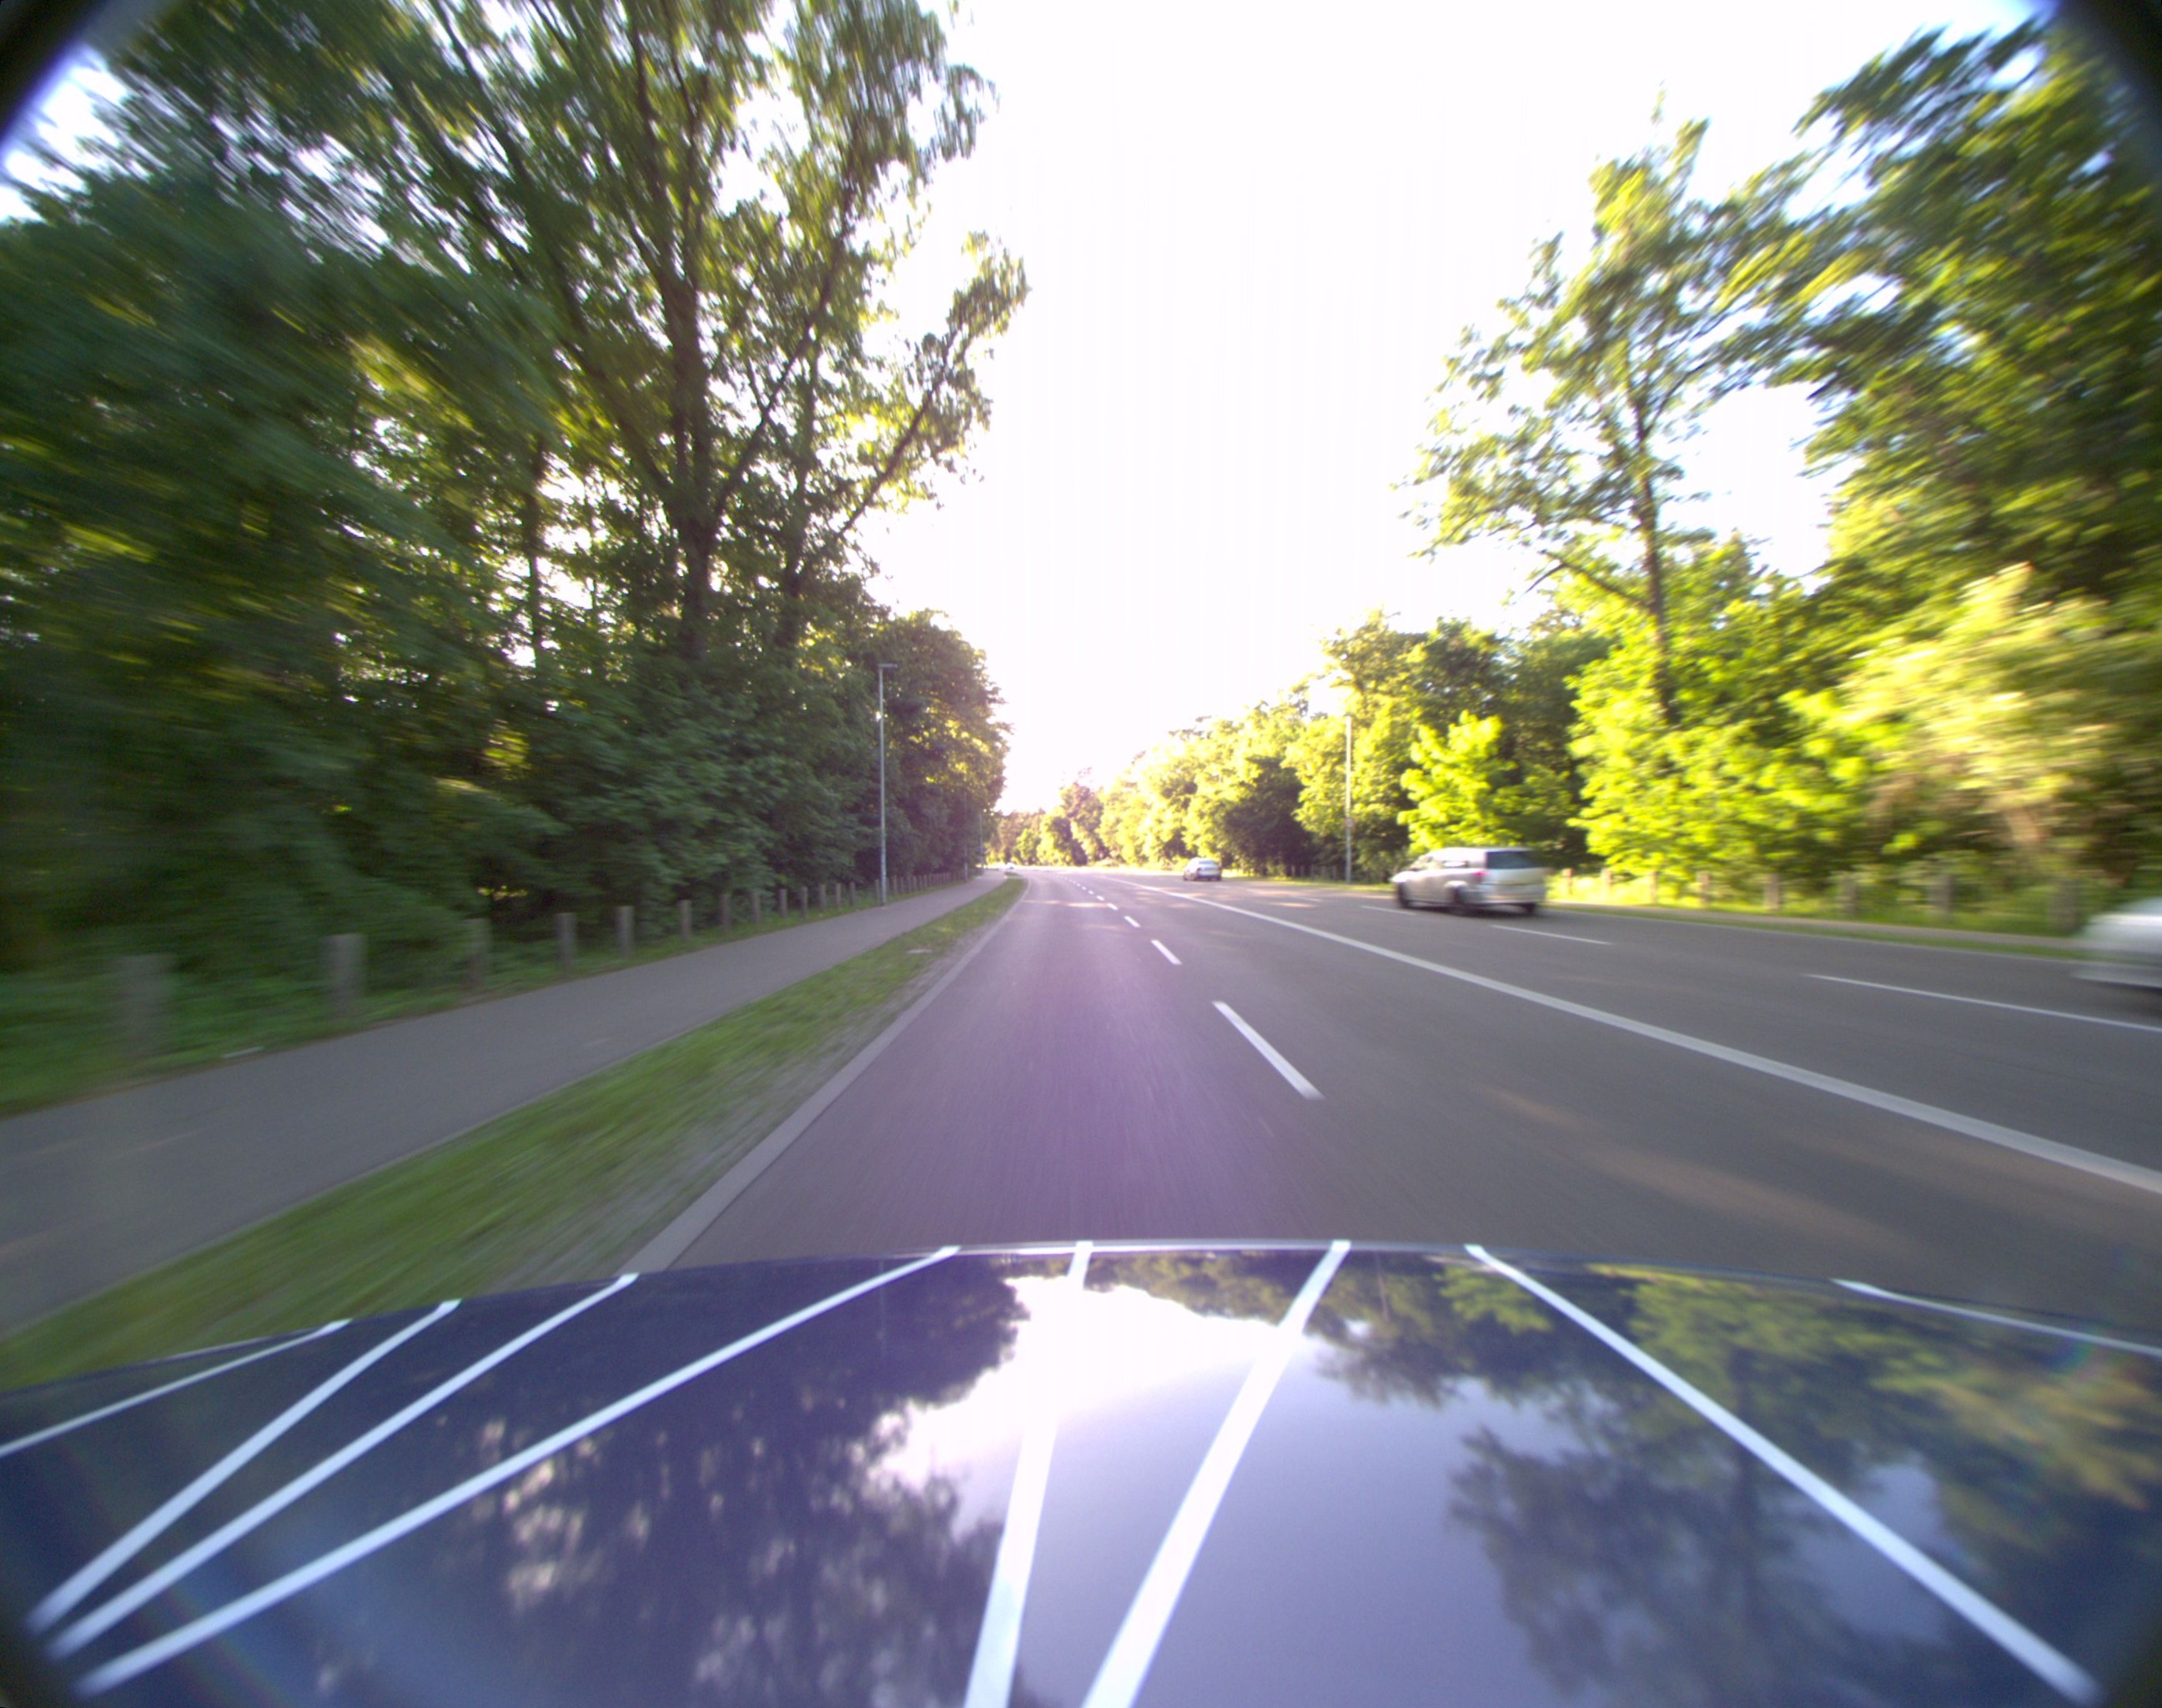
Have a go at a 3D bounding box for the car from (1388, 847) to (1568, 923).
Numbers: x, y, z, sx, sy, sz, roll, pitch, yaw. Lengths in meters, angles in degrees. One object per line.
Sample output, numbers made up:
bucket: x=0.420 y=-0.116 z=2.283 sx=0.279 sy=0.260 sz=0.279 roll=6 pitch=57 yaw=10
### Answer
car: x=8.632 y=0.600 z=17.016 sx=1.784 sy=1.455 sz=4.274 roll=-1 pitch=0 yaw=0

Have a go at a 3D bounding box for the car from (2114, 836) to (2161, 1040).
car: x=8.875 y=0.591 z=3.674 sx=1.787 sy=1.513 sz=4.398 roll=-1 pitch=0 yaw=1

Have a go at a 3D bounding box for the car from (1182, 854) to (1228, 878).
car: x=7.564 y=0.741 z=46.655 sx=1.785 sy=1.400 sz=4.164 roll=-1 pitch=-1 yaw=-5

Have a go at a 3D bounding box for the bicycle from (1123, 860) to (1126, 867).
bicycle: x=6.853 y=1.502 z=118.742 sx=0.402 sy=1.125 sz=2.219 roll=-3 pitch=0 yaw=2

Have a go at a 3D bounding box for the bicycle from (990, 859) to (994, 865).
bicycle: x=-18.015 y=1.593 z=153.531 sx=0.609 sy=1.051 sz=2.872 roll=-1 pitch=0 yaw=-13
